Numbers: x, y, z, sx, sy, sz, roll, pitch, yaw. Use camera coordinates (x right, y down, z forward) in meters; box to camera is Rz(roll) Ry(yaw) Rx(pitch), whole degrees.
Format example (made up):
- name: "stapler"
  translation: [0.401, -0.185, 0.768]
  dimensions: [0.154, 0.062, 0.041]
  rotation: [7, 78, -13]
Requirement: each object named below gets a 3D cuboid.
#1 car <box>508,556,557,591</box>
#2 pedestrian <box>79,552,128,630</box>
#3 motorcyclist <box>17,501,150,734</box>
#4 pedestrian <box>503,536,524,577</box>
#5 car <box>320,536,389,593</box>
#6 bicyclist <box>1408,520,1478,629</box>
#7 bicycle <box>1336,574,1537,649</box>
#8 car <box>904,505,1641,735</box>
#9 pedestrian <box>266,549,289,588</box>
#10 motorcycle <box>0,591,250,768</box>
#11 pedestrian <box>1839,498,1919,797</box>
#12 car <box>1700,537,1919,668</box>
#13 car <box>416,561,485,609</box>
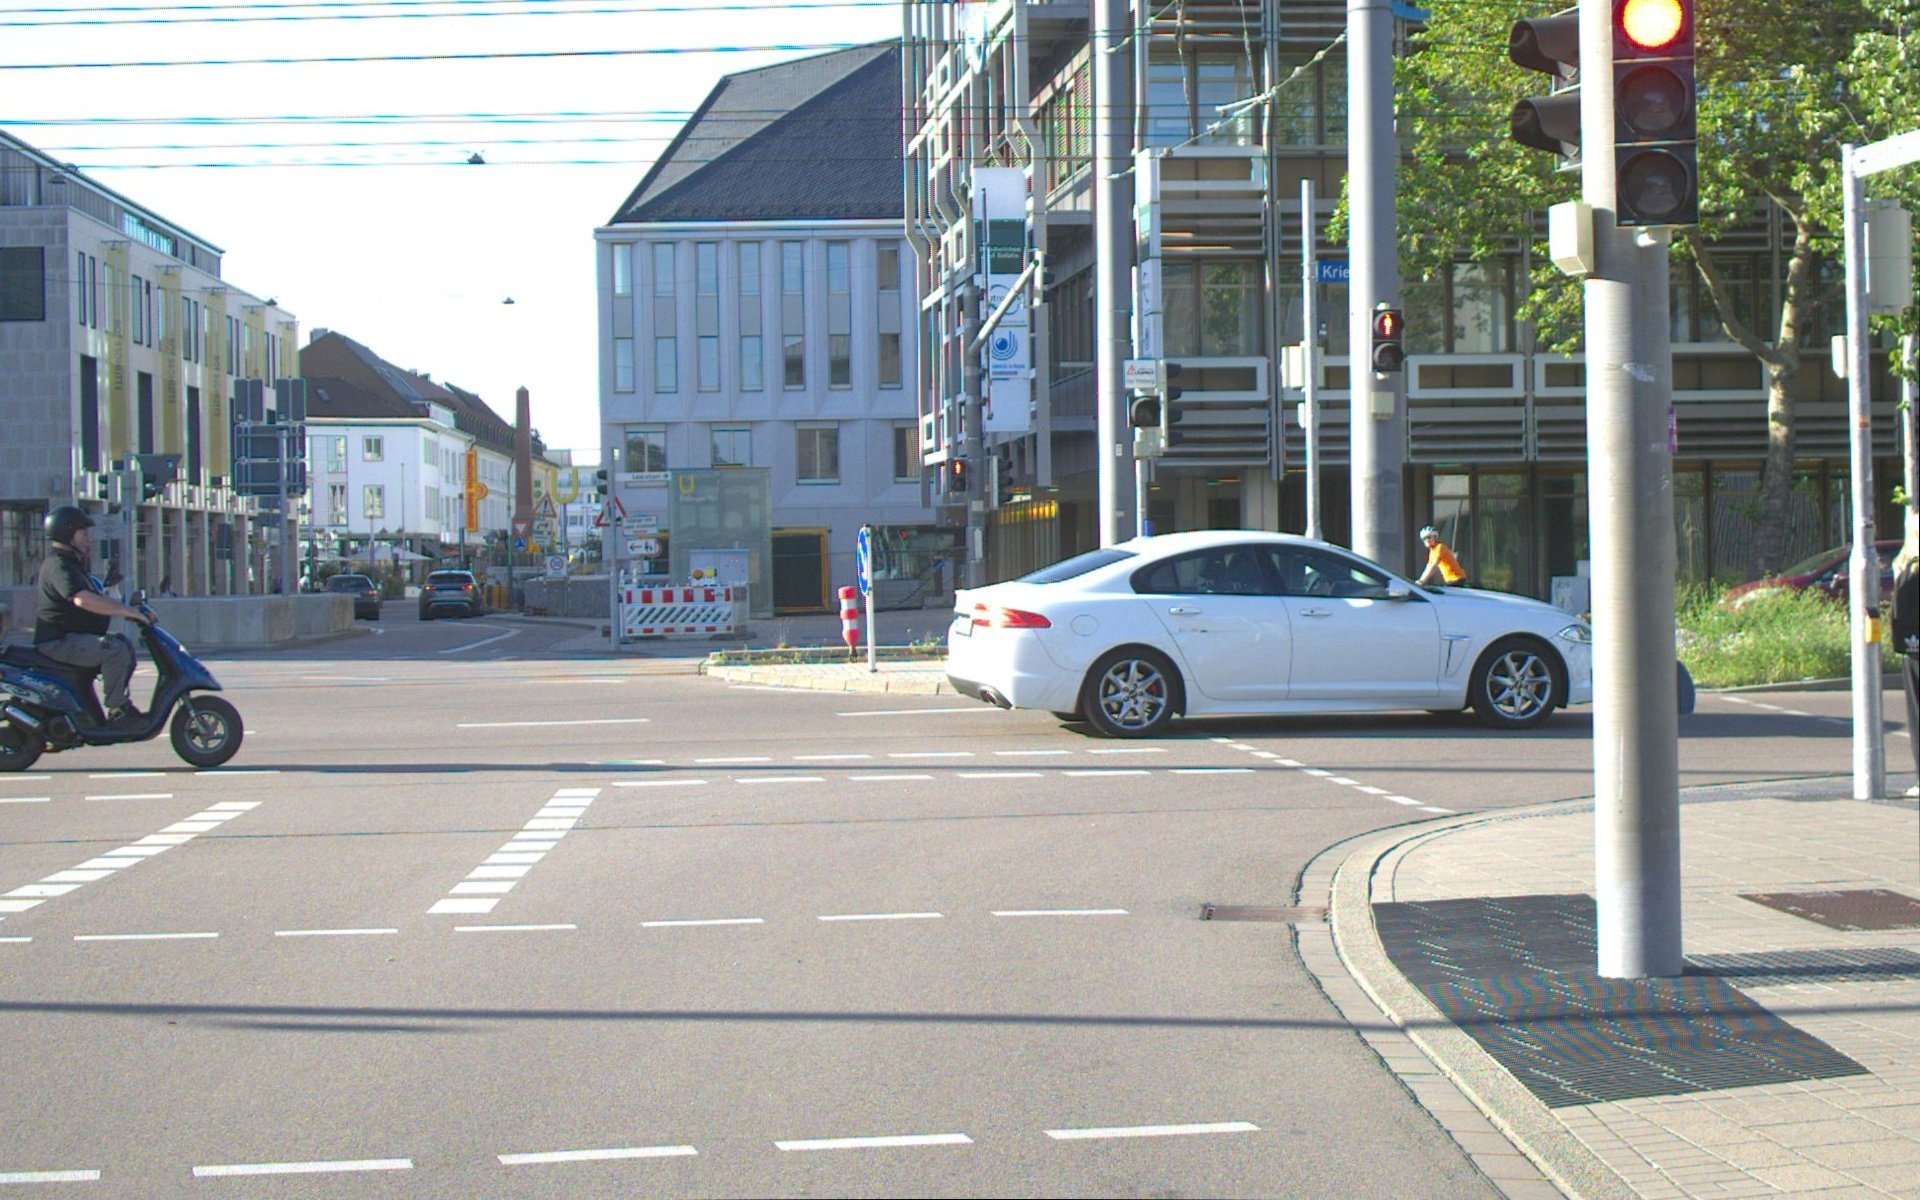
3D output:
- name: "car"
  translation: [-18.134, -1.142, 145.880]
  dimensions: [1.658, 1.453, 3.542]
  rotation: [-1, 1, -1]
- name: "pedestrian"
  translation: [-19.872, -0.212, 79.768]
  dimensions: [0.899, 1.776, 0.808]
  rotation: [-1, 1, -1]
- name: "motorcyclist"
  translation: [-5.655, 0.108, 22.203]
  dimensions: [0.749, 1.474, 0.599]
  rotation: [-1, 1, -8]
- name: "pedestrian"
  translation: [-21.394, -2.080, 164.691]
  dimensions: [0.910, 1.958, 0.823]
  rotation: [1, 0, -1]
- name: "car"
  translation: [-18.238, -1.082, 103.674]
  dimensions: [1.819, 1.678, 4.001]
  rotation: [-1, 1, -7]
- name: "bicyclist"
  translation: [6.616, -0.356, 47.132]
  dimensions: [0.822, 1.469, 0.652]
  rotation: [-1, 1, -4]
- name: "bicycle"
  translation: [6.524, 0.152, 47.126]
  dimensions: [2.568, 0.972, 1.047]
  rotation: [-1, 1, -3]
- name: "car"
  translation: [2.276, 0.111, 25.559]
  dimensions: [5.082, 1.559, 2.001]
  rotation: [-1, 1, -12]
- name: "pedestrian"
  translation: [-28.410, -1.320, 143.119]
  dimensions: [0.683, 1.593, 0.838]
  rotation: [-1, 1, 9]
- name: "motorcycle"
  translation: [-5.608, 0.507, 22.210]
  dimensions: [1.954, 1.097, 0.649]
  rotation: [-1, 1, -8]
- name: "pedestrian"
  translation: [5.357, 0.243, 18.944]
  dimensions: [0.765, 1.608, 0.874]
  rotation: [-1, 1, -2]
- name: "car"
  translation: [12.388, 0.002, 46.422]
  dimensions: [4.287, 1.678, 1.826]
  rotation: [-1, 1, -11]
- name: "car"
  translation: [-16.014, -0.482, 108.084]
  dimensions: [1.658, 1.453, 3.542]
  rotation: [-1, 1, -1]
